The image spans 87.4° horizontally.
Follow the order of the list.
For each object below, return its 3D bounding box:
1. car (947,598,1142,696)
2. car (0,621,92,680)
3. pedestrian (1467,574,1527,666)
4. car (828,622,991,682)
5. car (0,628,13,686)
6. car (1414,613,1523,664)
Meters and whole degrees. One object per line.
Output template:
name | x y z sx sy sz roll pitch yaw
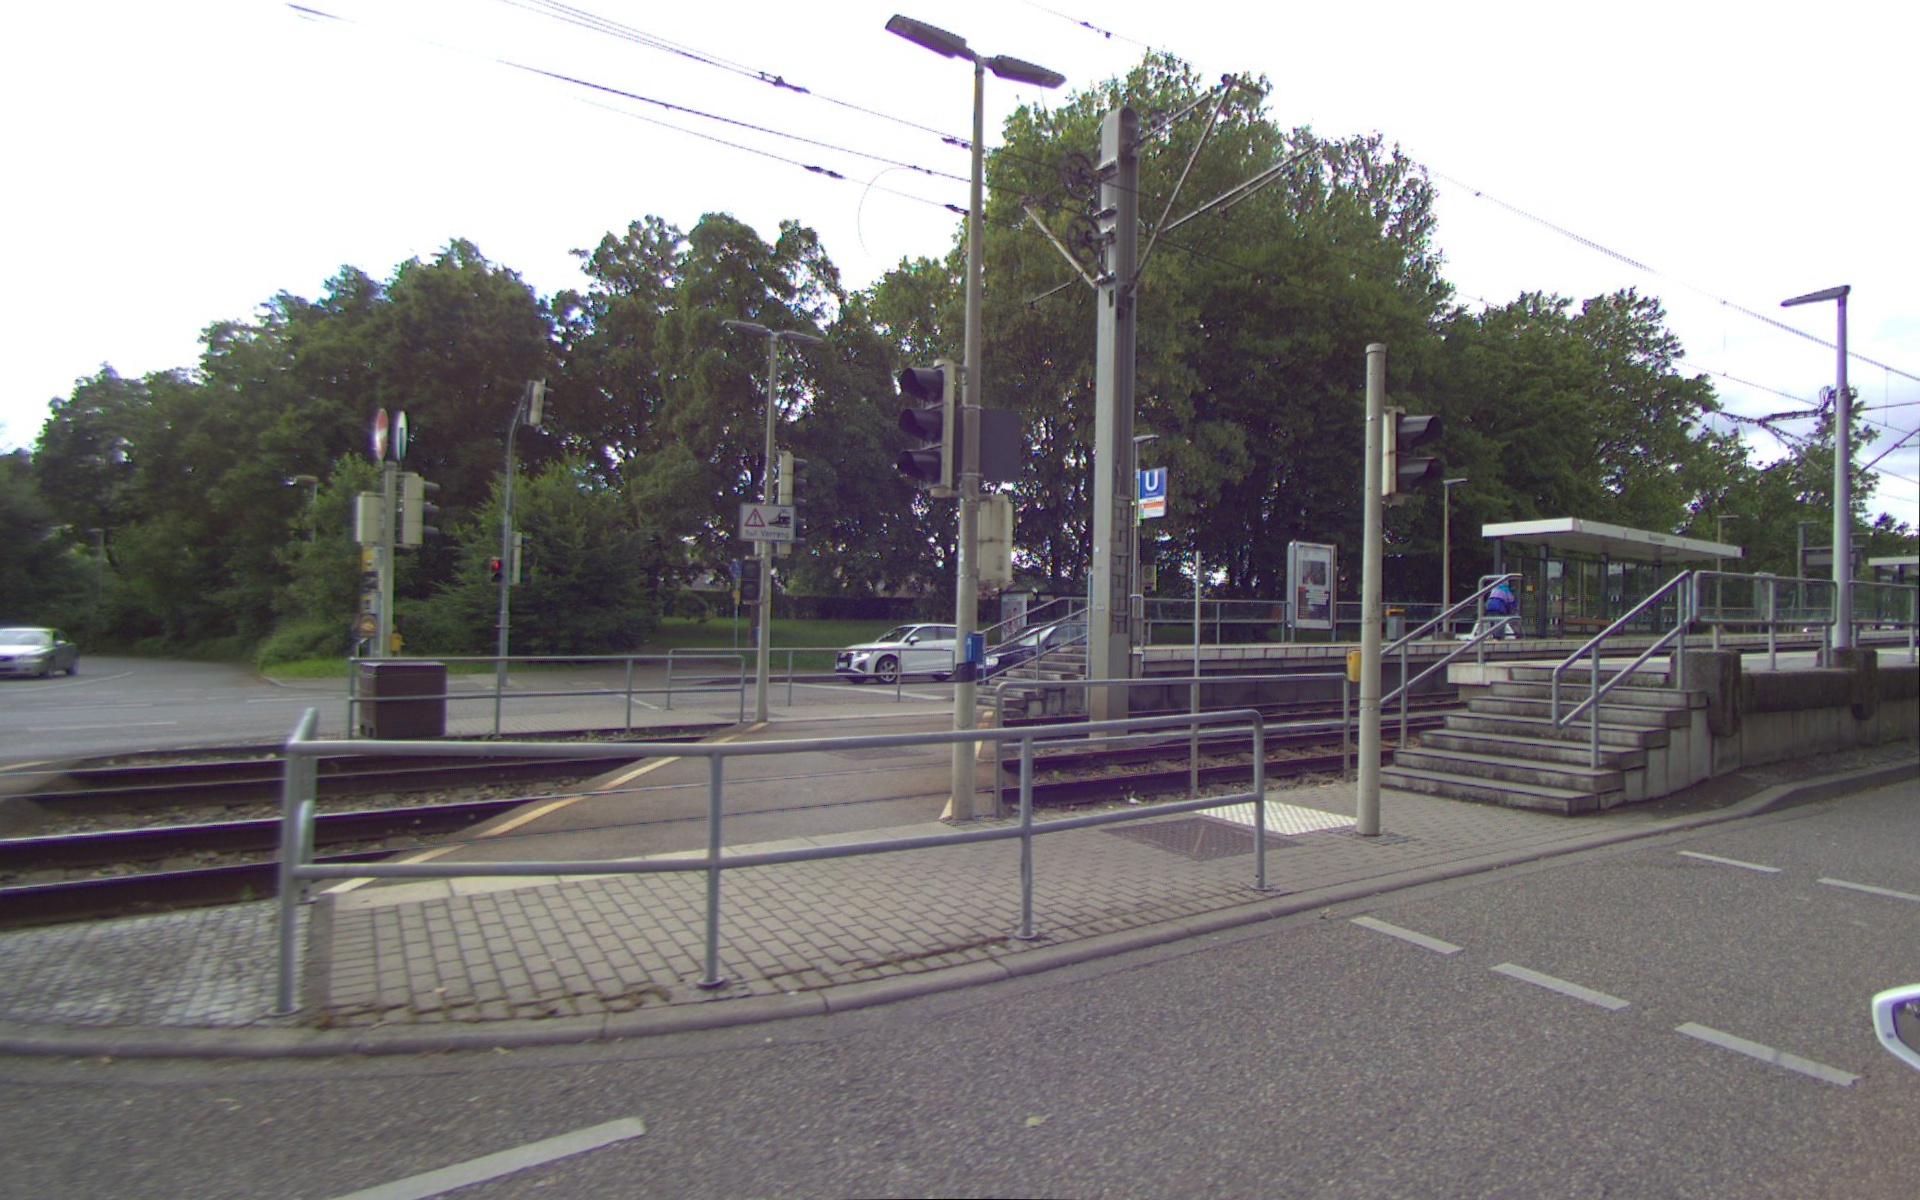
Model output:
car | 1.846 0.987 21.578 3.959 1.885 1.686 2 1 -34
car | -26.538 1.416 28.798 1.827 1.572 3.966 2 -2 -32
pedestrian | 13.355 0.498 24.980 0.965 2.215 0.964 1 -1 -32
car | -1.273 1.354 26.057 3.959 1.464 1.676 2 -4 -34
car | -24.297 1.365 23.436 1.820 1.426 3.873 1 -2 -21
car | 18.869 1.456 37.210 4.353 1.774 1.700 2 -3 -34
